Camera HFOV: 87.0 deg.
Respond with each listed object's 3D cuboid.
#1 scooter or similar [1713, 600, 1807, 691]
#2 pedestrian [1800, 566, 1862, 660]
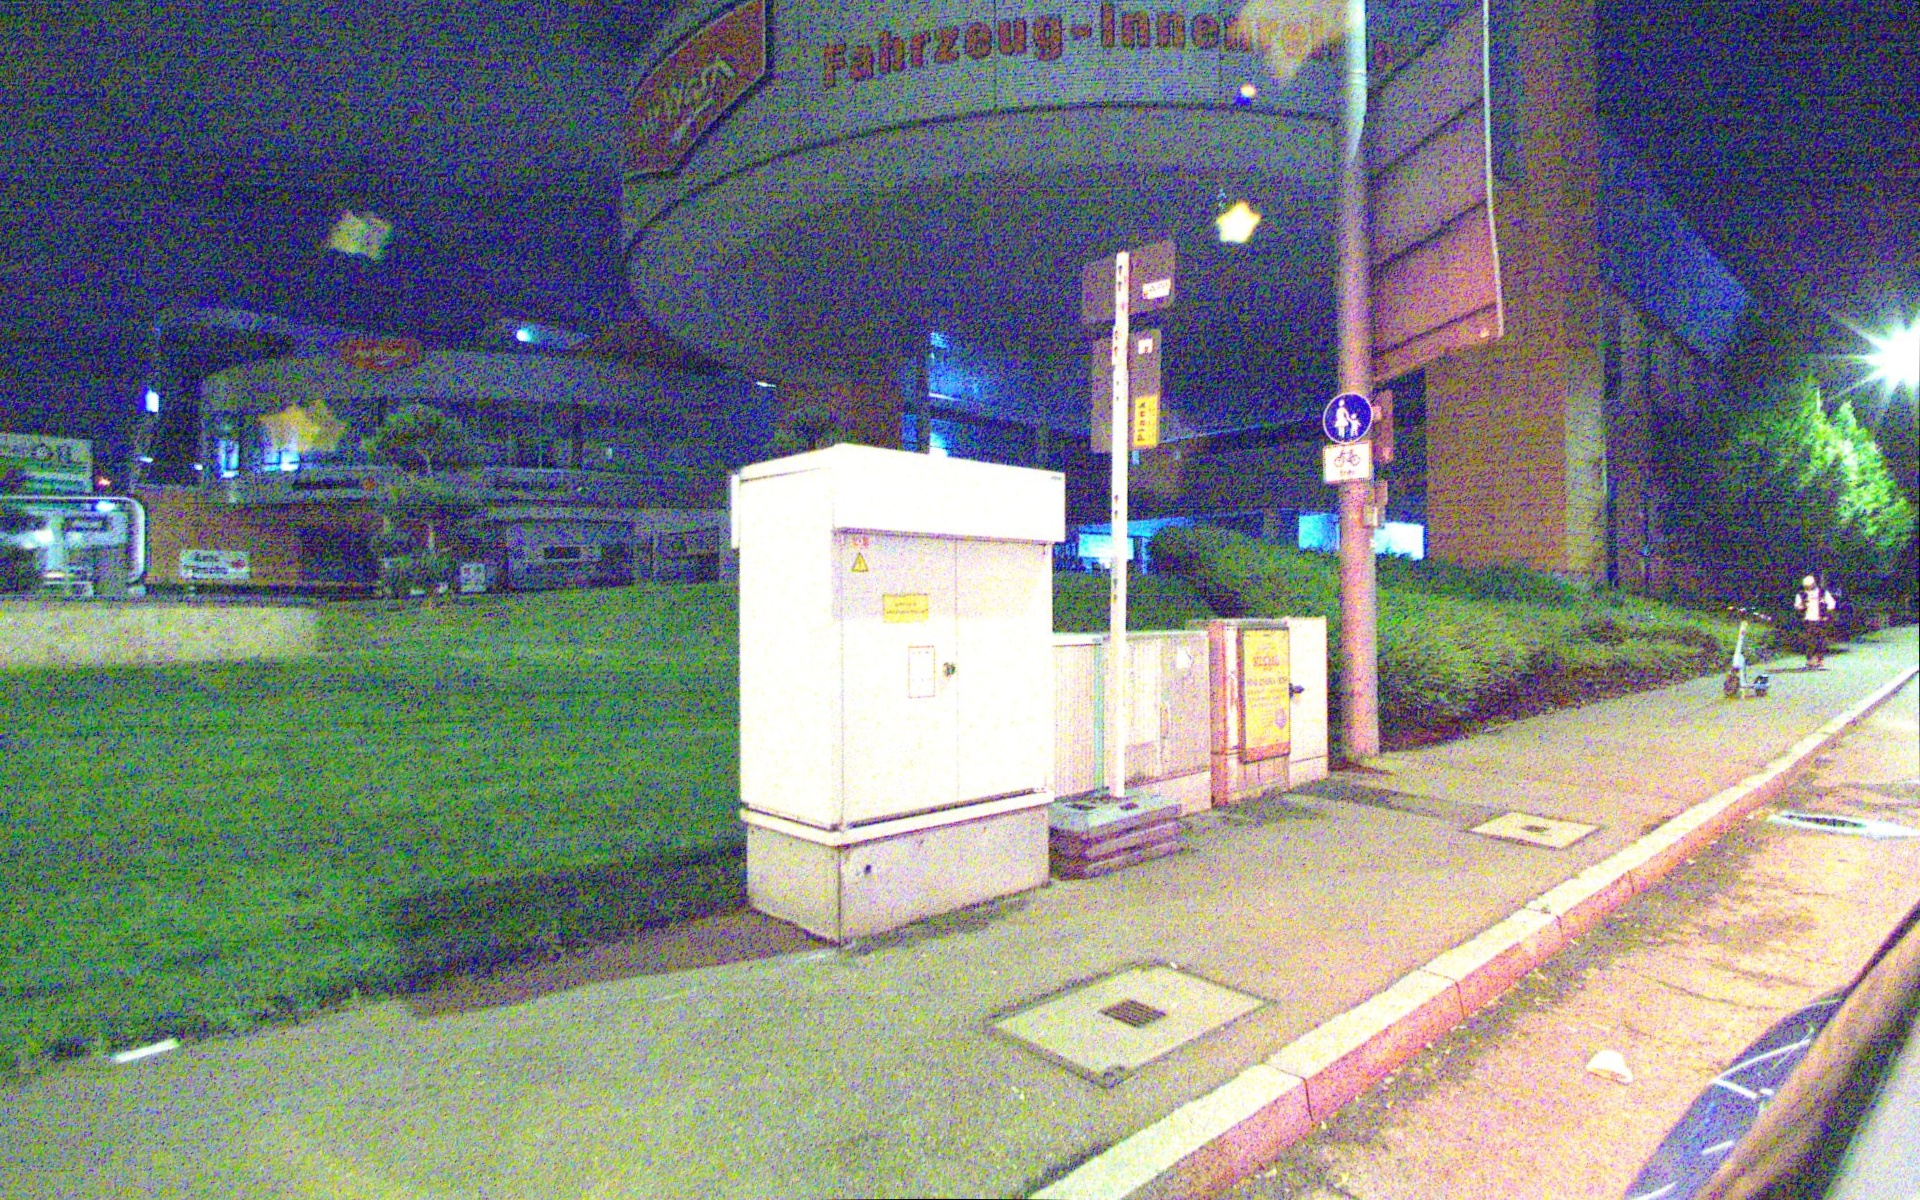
[{"bbox_3d":[11.037,0.623,13.959,1.111,1.217,0.470,1,-1,-17],"label":"scooter or similar"},{"bbox_3d":[17.962,0.252,20.863,1.016,1.888,0.819,0,0,-41],"label":"pedestrian"}]
